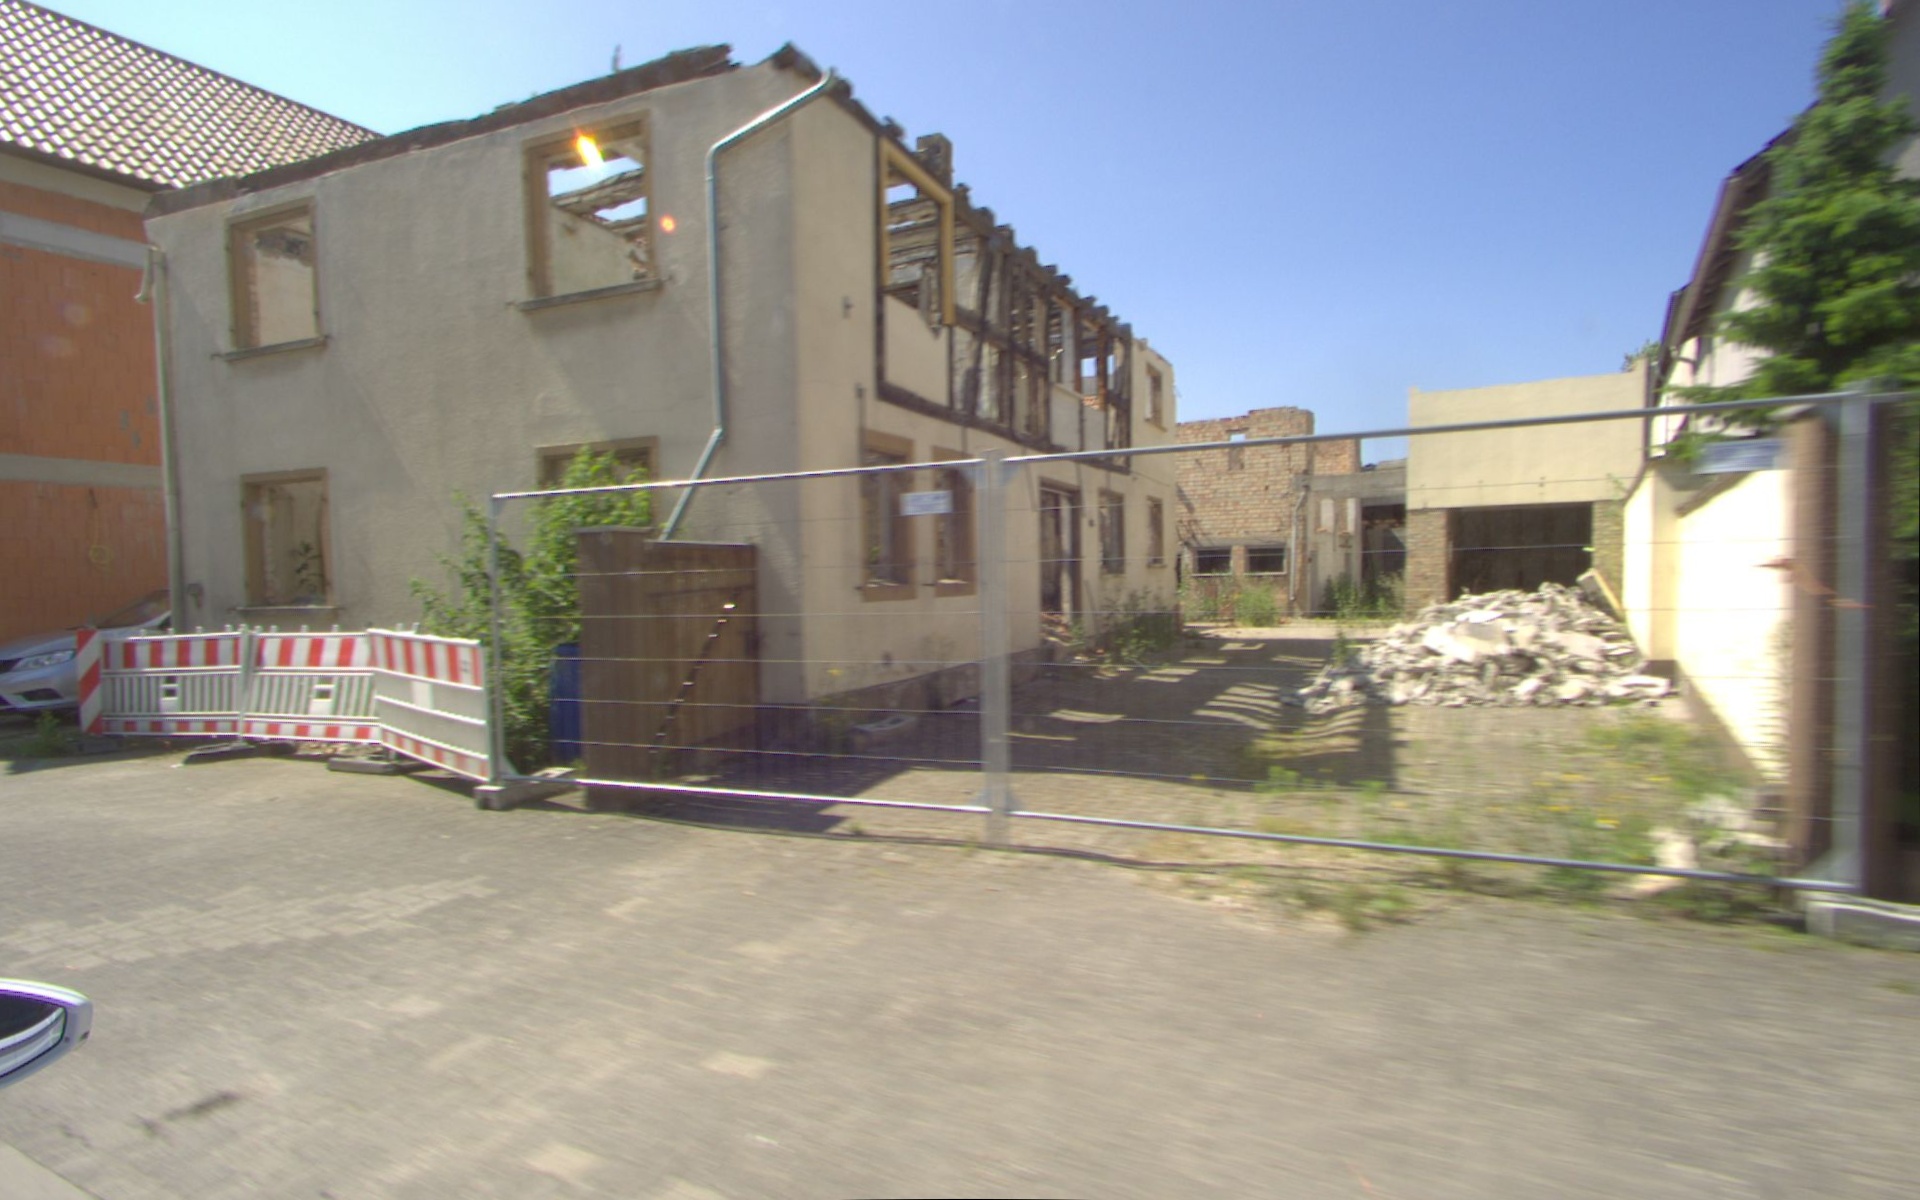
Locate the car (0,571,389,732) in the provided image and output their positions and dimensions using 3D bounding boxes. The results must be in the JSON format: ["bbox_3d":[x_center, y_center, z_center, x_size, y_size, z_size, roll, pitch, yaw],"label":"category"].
[{"bbox_3d":[-9.642,0.479,12.457,1.839,1.528,4.087,0,3,23],"label":"car"}]
